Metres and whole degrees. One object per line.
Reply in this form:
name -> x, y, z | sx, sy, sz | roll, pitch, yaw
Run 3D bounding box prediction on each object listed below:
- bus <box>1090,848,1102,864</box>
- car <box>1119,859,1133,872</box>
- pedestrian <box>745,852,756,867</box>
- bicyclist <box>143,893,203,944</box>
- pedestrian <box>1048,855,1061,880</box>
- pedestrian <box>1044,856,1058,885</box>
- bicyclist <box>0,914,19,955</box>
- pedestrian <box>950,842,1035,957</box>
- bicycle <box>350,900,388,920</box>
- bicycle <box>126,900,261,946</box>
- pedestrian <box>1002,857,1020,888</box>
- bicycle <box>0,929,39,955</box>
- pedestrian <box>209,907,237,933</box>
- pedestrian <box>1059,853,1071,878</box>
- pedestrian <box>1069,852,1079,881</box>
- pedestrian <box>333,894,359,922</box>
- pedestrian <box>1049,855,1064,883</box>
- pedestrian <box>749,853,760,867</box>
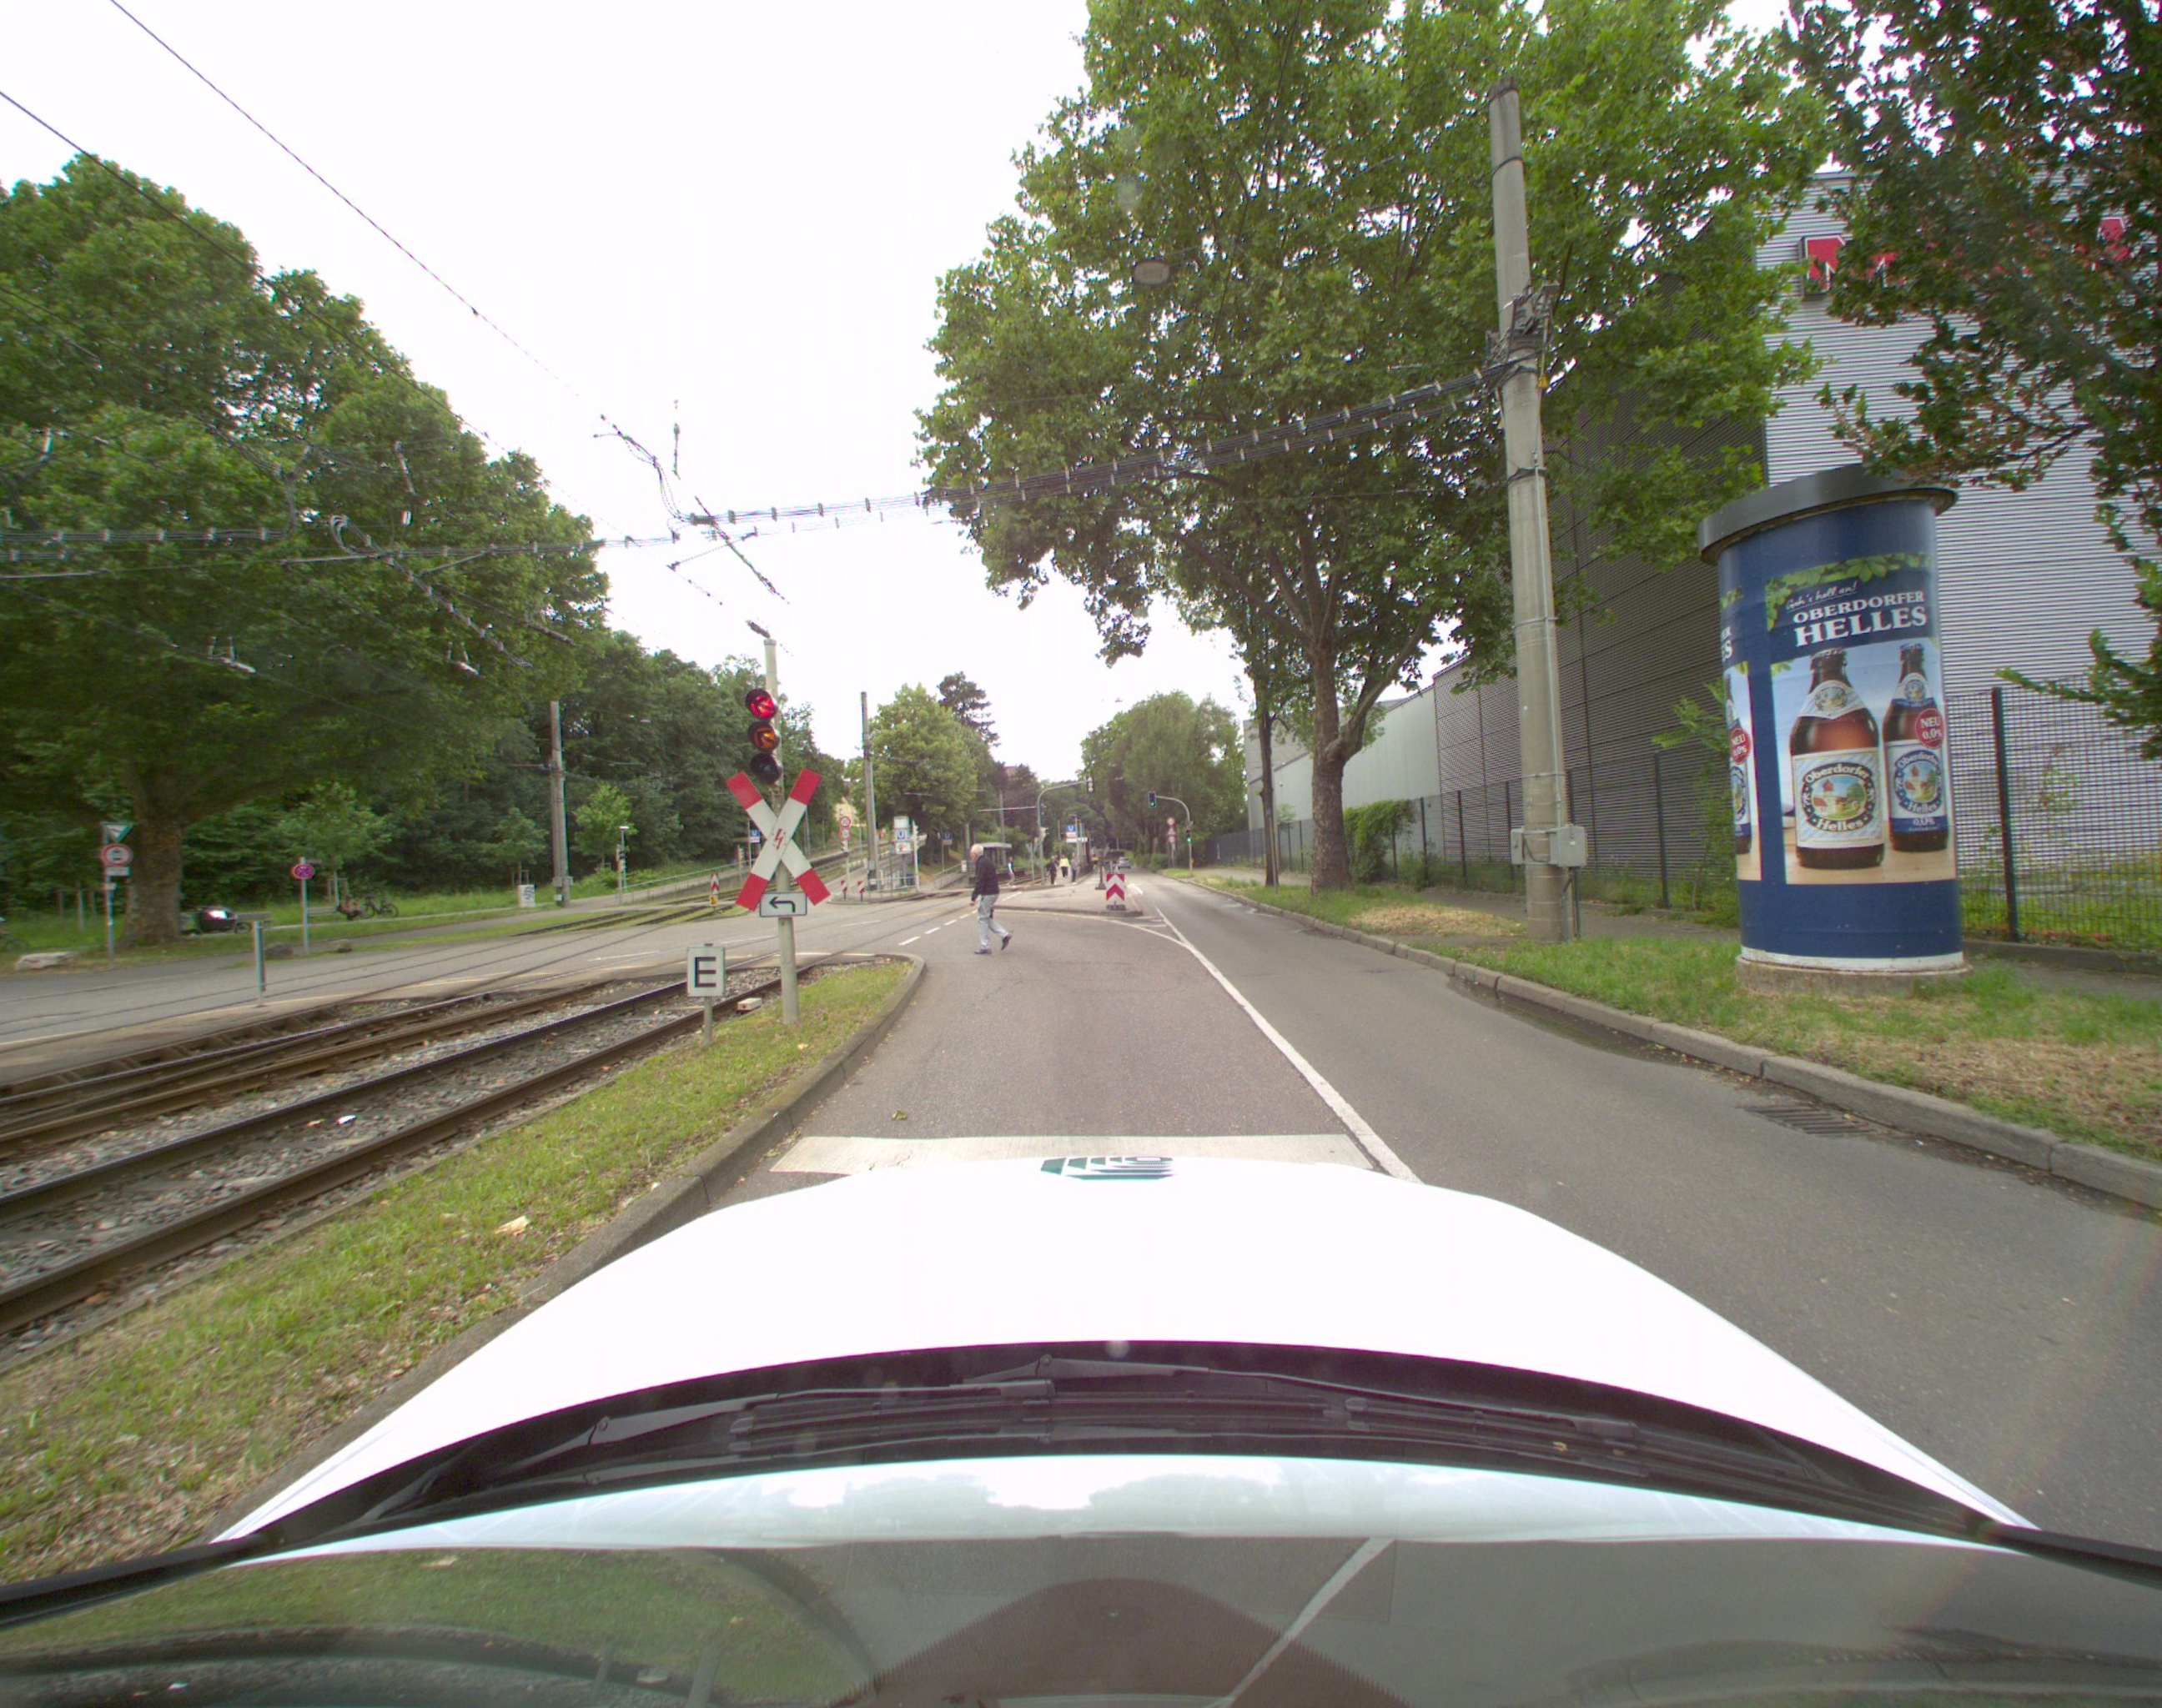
bus -> 3.478, 0.534, 189.991 | 2.725, 3.626, 8.942 | 0, -1, 1
car -> 6.176, 1.611, 111.773 | 1.737, 1.598, 4.002 | -1, 1, 2
pedestrian -> -30.778, 0.534, 75.797 | 0.771, 1.326, 0.785 | 0, 2, -6
bicyclist -> -33.903, 2.383, 30.419 | 0.726, 1.711, 1.301 | 1, 3, 28
pedestrian -> -1.761, 0.877, 53.940 | 0.735, 1.665, 0.679 | 0, -1, -9
pedestrian -> -1.740, 0.949, 47.180 | 0.732, 1.665, 0.682 | 0, -1, 3
bicyclist -> -36.148, 2.711, 27.286 | 0.449, 1.301, 0.585 | 2, 5, 33
pedestrian -> -1.432, 0.699, 13.140 | 1.106, 1.760, 0.818 | -1, -1, 42
bicycle -> -33.443, 2.642, 38.258 | 1.726, 0.885, 0.625 | -1, -1, 21
bicycle -> -33.637, 2.575, 30.967 | 0.726, 1.289, 3.368 | 1, 4, 28
pedestrian -> -4.085, 1.082, 47.598 | 0.662, 1.821, 0.810 | -1, -1, 32
bicycle -> -36.179, 2.996, 27.246 | 0.449, 0.738, 1.569 | 2, 5, 33
pedestrian -> -35.205, 2.705, 33.424 | 0.526, 0.989, 0.623 | -1, -1, 17
pedestrian -> -1.090, 0.780, 54.743 | 0.735, 1.665, 0.679 | 0, -1, -9
pedestrian -> -0.444, 0.773, 50.947 | 0.547, 1.758, 0.739 | 0, -1, 6
pedestrian -> -33.483, 2.466, 37.103 | 0.574, 1.235, 0.676 | -1, -1, 15
pedestrian -> -1.513, 0.925, 49.930 | 0.674, 1.665, 0.741 | -1, -1, 17
pedestrian -> -30.822, 0.544, 76.961 | 0.771, 1.326, 0.785 | 0, -1, -6
